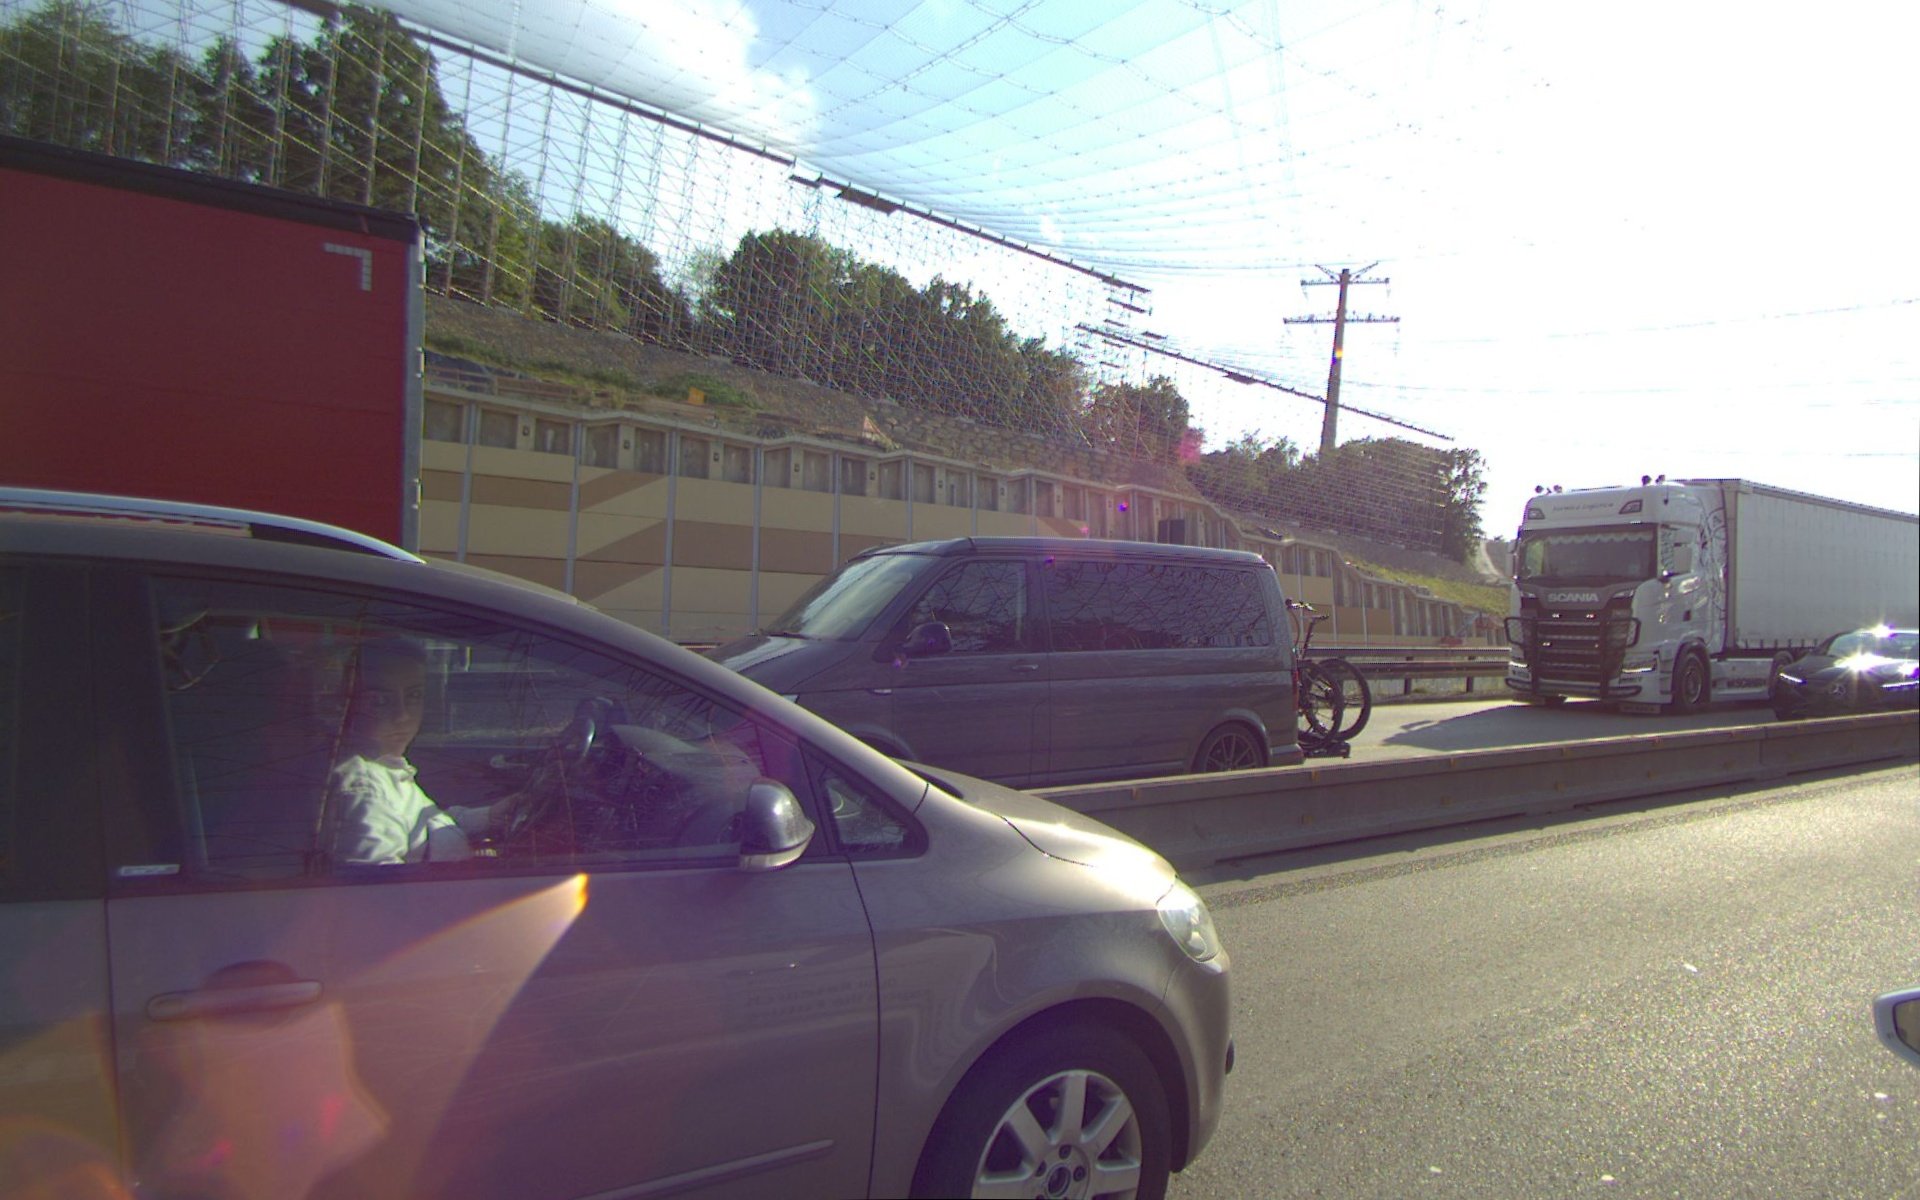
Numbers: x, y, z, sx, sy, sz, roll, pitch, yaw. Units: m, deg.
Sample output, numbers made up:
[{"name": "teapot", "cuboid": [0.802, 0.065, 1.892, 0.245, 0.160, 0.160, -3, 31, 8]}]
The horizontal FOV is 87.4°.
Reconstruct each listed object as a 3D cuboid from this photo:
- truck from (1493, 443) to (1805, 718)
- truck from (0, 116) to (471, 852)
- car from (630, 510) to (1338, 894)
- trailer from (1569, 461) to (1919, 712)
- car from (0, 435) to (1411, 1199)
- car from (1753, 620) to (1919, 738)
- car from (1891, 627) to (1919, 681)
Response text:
[{"name": "truck", "cuboid": [12.743, -0.232, 18.449, 6.040, 4.286, 2.646, 2, -1, -34]}, {"name": "truck", "cuboid": [-9.974, -0.805, 4.594, 13.652, 4.196, 2.773, 2, -1, -32]}, {"name": "car", "cuboid": [0.334, 0.562, 7.190, 4.807, 1.961, 1.864, 2, 0, -32]}, {"name": "trailer", "cuboid": [18.306, -0.100, 22.083, 13.770, 4.290, 2.638, 2, 1, -33]}, {"name": "car", "cuboid": [-1.059, 0.616, 2.180, 4.052, 1.595, 1.675, 2, 0, -31]}, {"name": "car", "cuboid": [14.471, 1.145, 15.691, 4.701, 1.522, 1.774, 2, 1, -32]}, {"name": "car", "cuboid": [28.287, 1.564, 28.609, 3.809, 1.460, 1.656, 2, 1, -32]}]
